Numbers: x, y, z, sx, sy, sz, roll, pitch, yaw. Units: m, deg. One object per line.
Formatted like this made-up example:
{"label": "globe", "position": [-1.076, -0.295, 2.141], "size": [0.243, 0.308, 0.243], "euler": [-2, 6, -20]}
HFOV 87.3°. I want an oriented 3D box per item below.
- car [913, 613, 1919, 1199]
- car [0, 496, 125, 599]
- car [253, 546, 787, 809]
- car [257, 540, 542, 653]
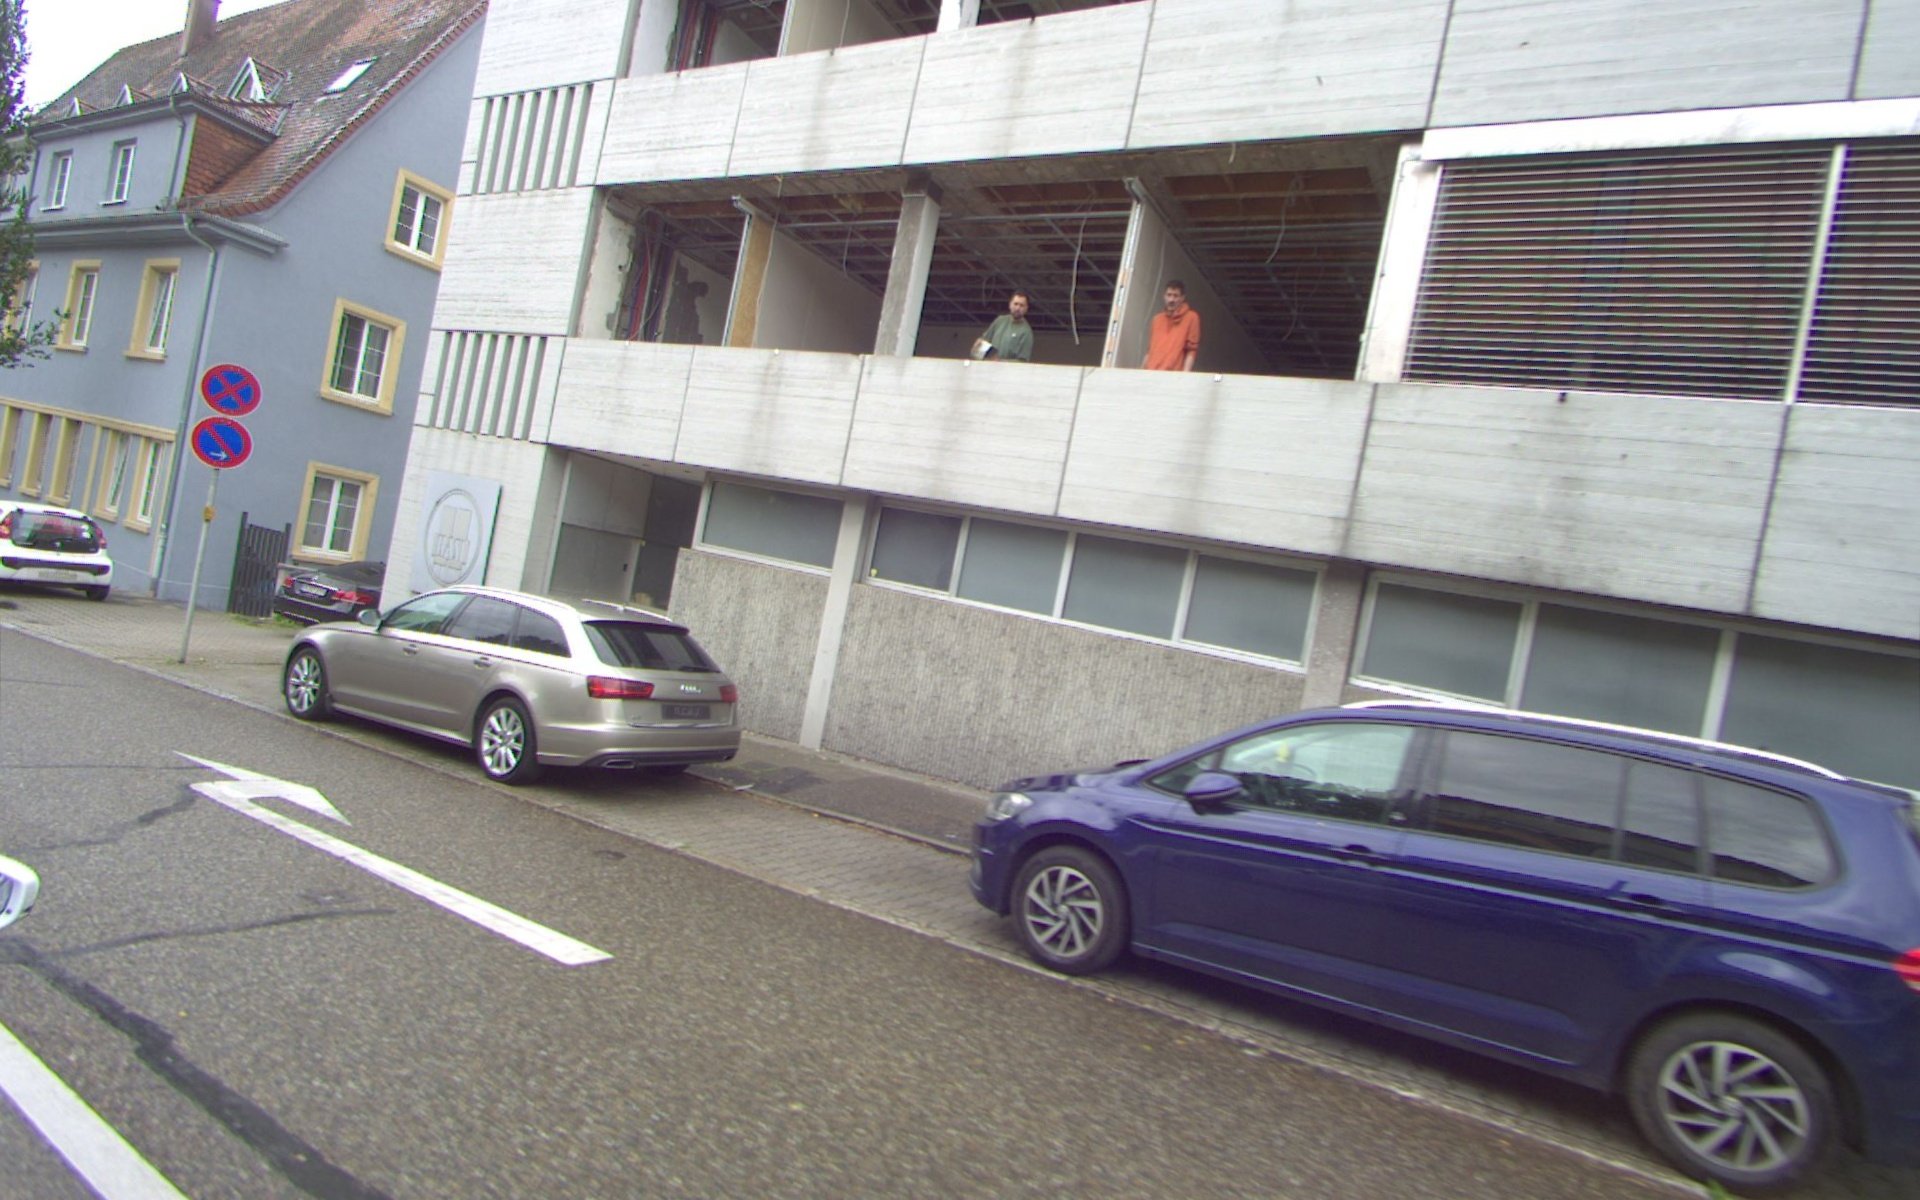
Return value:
{"label": "car", "position": [2.112, 1.235, 5.033], "size": [4.272, 1.693, 1.749], "euler": [7, -2, 31]}
{"label": "car", "position": [-15.896, -0.972, 16.908], "size": [3.396, 1.429, 1.590], "euler": [7, 0, 28]}
{"label": "car", "position": [-4.036, 0.582, 9.020], "size": [4.660, 1.476, 1.819], "euler": [7, -2, 29]}
{"label": "car", "position": [-9.566, 0.050, 17.655], "size": [1.774, 1.423, 4.375], "euler": [8, -2, 13]}
